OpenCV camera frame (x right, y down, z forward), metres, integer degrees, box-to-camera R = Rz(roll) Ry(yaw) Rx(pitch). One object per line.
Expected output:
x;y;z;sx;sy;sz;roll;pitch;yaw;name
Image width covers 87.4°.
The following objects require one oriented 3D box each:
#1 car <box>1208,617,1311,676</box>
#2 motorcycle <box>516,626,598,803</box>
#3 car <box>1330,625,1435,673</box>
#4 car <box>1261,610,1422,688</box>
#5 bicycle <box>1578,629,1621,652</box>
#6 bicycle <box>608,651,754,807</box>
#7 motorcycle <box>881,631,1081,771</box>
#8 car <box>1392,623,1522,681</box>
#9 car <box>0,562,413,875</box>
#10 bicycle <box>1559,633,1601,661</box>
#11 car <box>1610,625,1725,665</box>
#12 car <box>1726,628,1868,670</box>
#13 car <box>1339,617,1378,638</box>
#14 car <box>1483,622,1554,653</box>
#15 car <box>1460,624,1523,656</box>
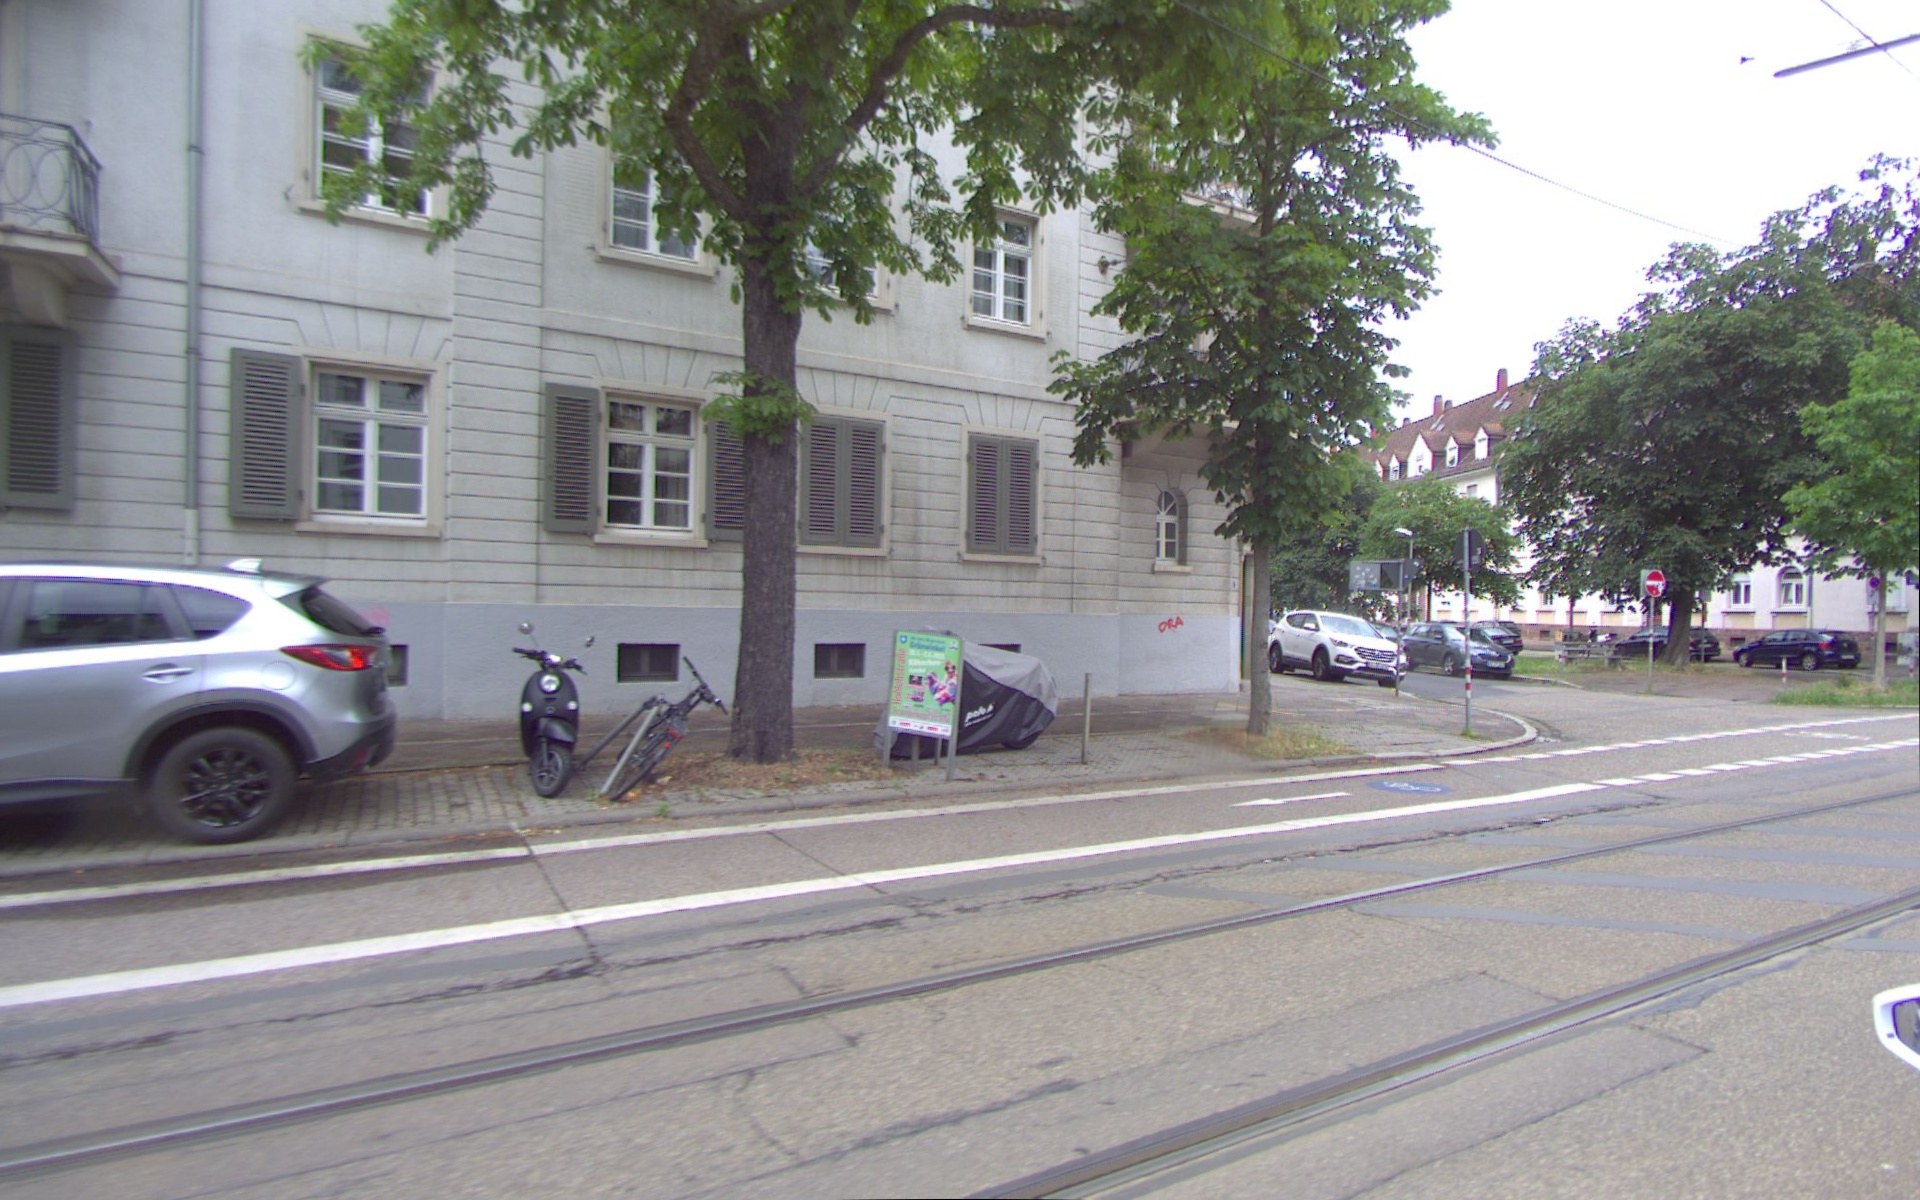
9.057;1.367;30.727;1.705;1.533;4.046;3;0;-3;car
-3.233;0.861;8.037;0.540;1.238;1.282;1;1;-23;motorcycle
14.045;1.585;33.628;1.633;1.364;4.008;1;0;-3;car
9.161;1.116;24.551;1.902;1.685;4.513;1;-1;-5;car
31.700;1.991;49.843;0.641;1.049;2.190;1;0;-3;bicycle
-2.308;0.994;8.206;0.917;1.018;1.371;1;2;-25;bicycle
0.254;0.953;10.100;2.122;1.274;0.536;1;0;-37;motorcycle
14.117;1.433;28.788;1.629;1.429;4.070;1;0;-1;car
-5.813;0.629;6.209;4.241;1.683;1.829;1;2;-29;car
22.206;1.678;36.008;0.440;0.937;1.674;0;0;-2;bicycle
29.142;1.813;41.530;1.675;1.483;3.941;1;0;-7;car
29.709;1.700;35.818;1.708;1.324;3.758;1;-1;-6;car
28.372;1.941;71.611;1.362;1.449;3.310;1;0;-3;car
29.467;1.952;53.112;1.642;1.460;3.498;1;0;-3;car
23.960;1.779;45.399;1.329;1.317;2.968;1;0;2;car
